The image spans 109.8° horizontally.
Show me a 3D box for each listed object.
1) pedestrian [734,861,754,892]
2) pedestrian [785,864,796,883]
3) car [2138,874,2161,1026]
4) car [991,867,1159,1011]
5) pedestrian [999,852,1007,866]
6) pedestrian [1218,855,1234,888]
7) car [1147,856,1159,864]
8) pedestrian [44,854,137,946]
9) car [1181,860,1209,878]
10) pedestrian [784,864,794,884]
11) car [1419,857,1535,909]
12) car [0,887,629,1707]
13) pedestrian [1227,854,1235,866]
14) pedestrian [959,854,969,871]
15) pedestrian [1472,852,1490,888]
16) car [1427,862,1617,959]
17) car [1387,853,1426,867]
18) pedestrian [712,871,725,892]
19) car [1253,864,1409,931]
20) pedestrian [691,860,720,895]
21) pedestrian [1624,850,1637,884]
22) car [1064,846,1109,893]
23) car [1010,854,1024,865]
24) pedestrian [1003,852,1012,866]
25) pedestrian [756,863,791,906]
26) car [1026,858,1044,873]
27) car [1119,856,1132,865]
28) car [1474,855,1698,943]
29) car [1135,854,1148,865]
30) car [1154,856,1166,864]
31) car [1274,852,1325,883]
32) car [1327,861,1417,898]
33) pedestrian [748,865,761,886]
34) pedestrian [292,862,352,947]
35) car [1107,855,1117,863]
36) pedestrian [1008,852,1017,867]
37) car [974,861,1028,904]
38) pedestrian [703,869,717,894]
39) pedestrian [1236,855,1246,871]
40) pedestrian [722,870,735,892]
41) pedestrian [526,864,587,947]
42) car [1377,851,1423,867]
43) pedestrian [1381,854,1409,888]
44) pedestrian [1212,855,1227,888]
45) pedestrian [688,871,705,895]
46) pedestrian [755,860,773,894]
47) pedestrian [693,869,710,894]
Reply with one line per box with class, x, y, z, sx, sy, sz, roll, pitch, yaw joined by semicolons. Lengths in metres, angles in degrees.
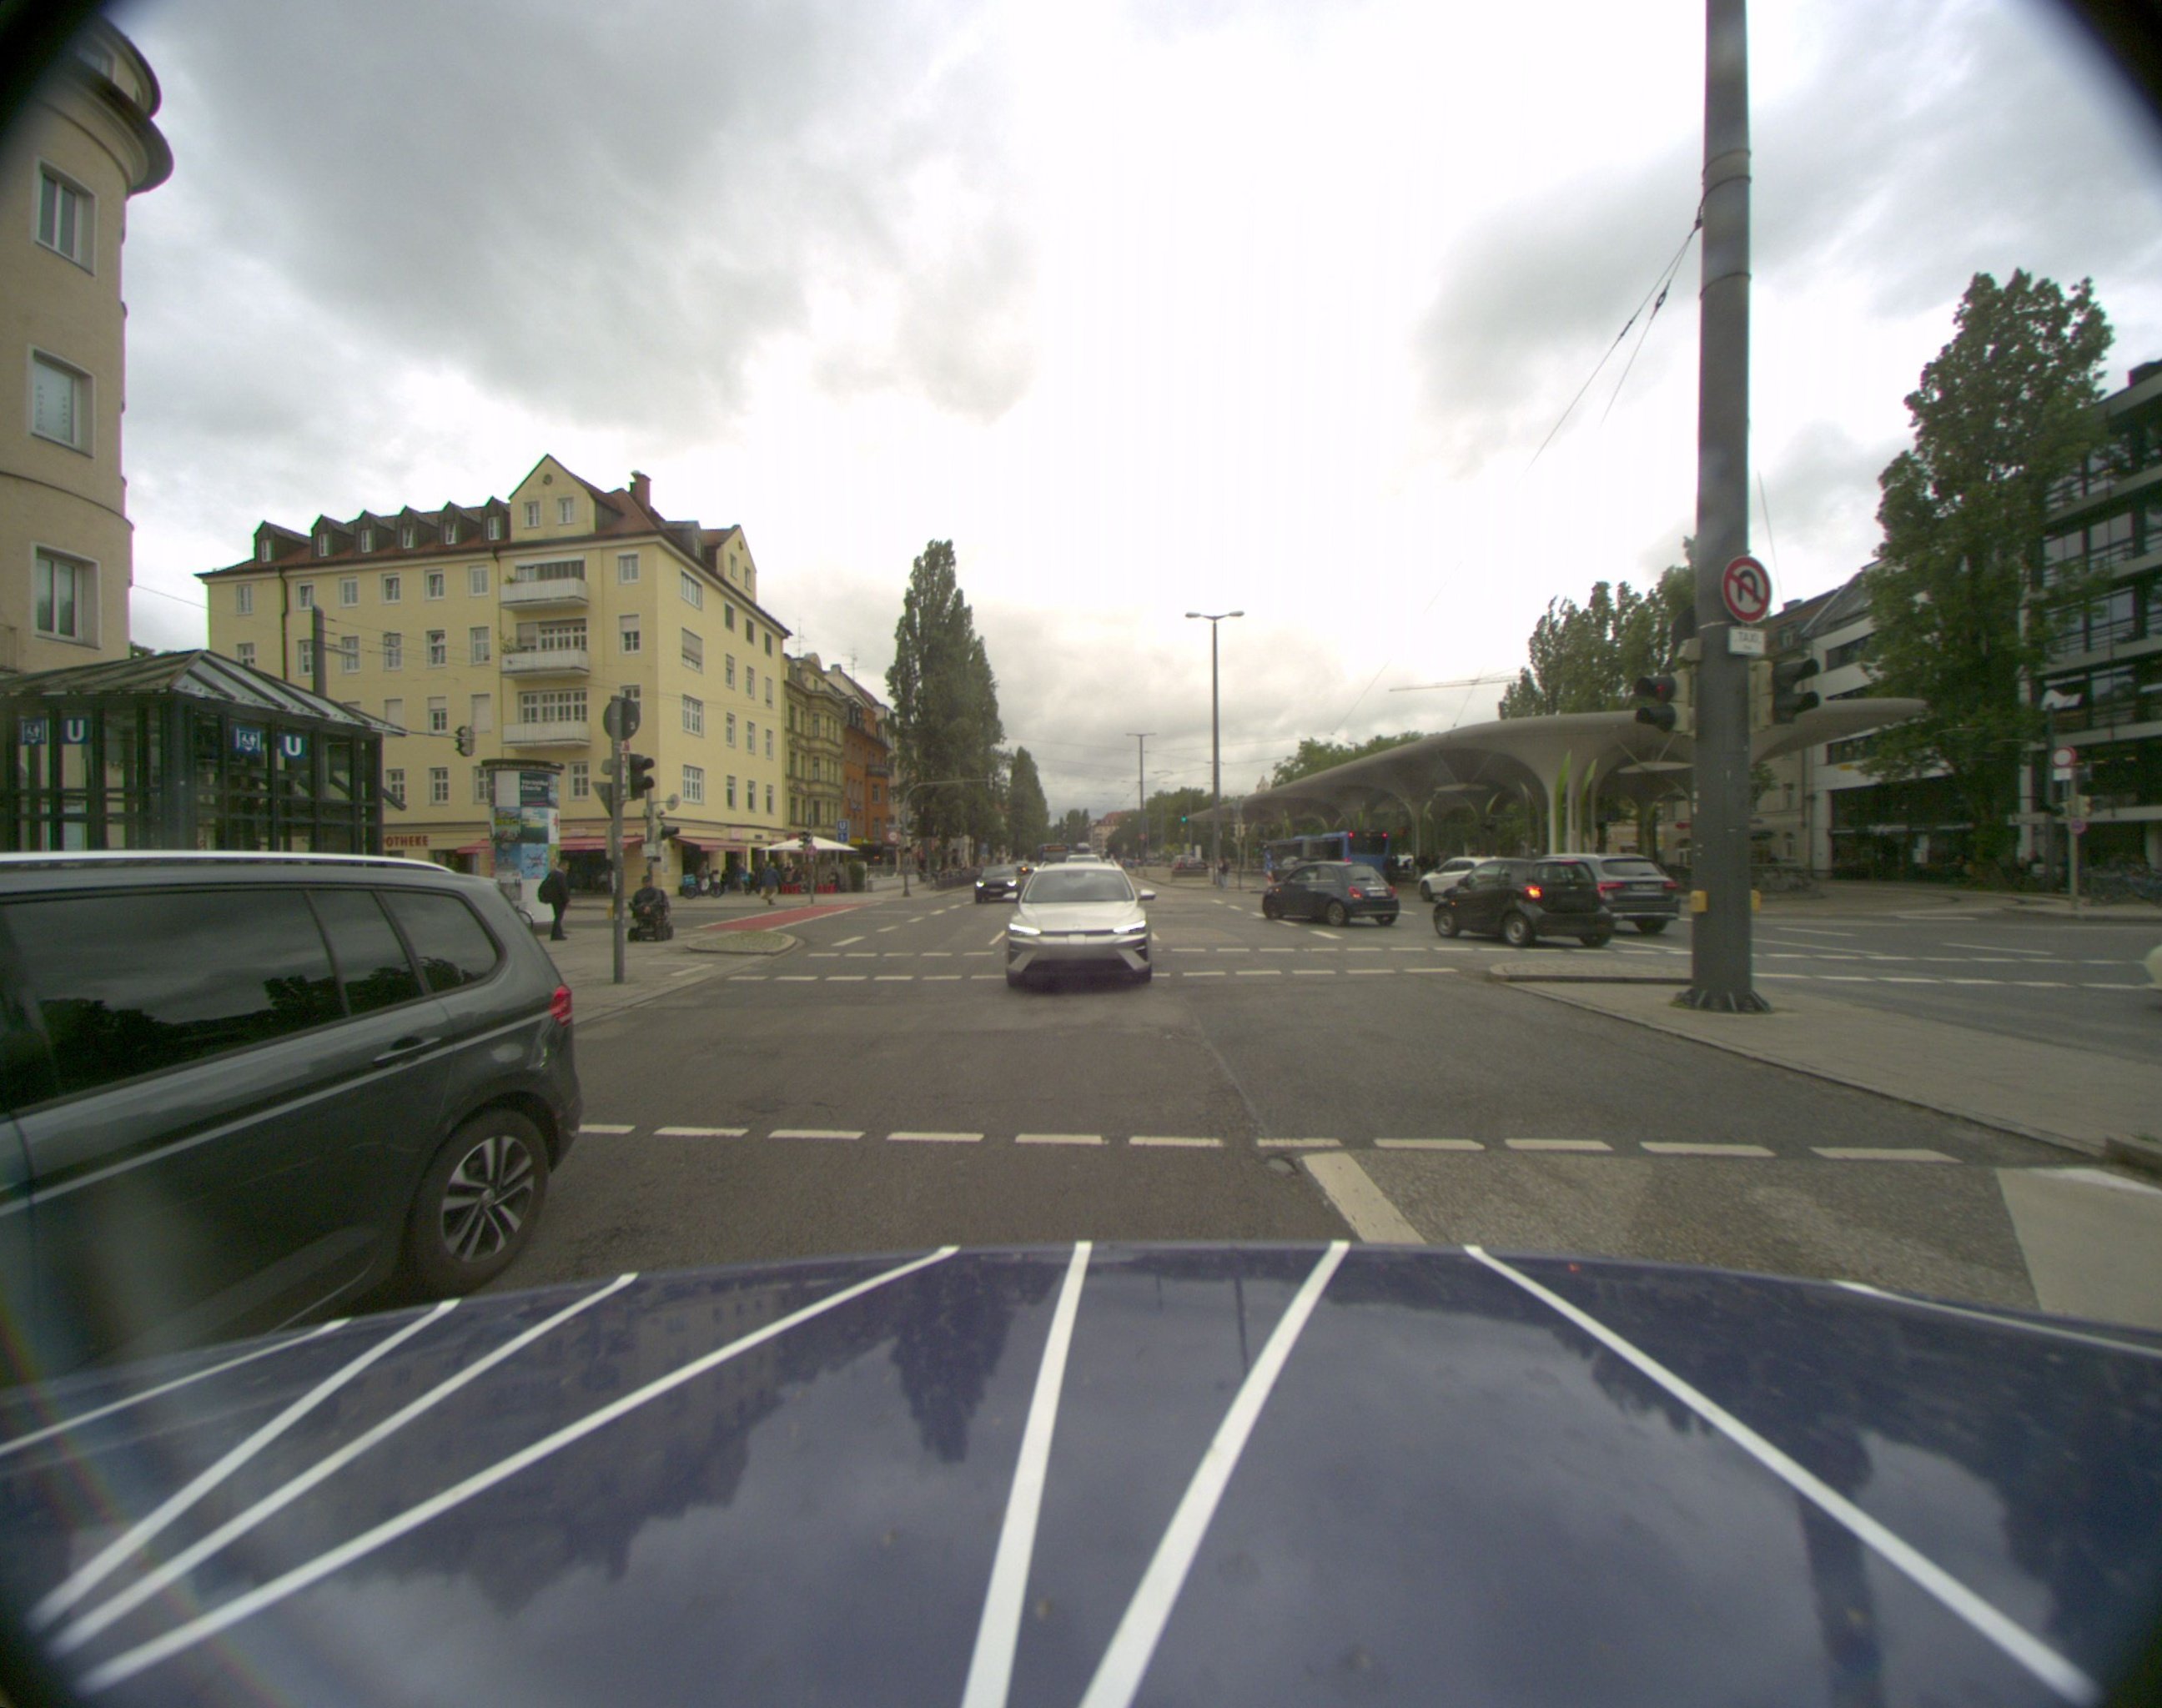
pedestrian;-18.510;1.229;41.696;0.712;1.623;0.786;-1;0;0
pedestrian;-19.252;1.297;50.426;0.496;1.282;0.552;-1;0;0
car;10.904;0.883;4.893;1.769;1.413;4.639;0;0;1
car;-0.018;0.980;10.845;1.812;1.496;4.953;-1;0;1
pedestrian;-9.717;0.601;94.448;0.699;1.770;0.652;-2;0;34
pedestrian;6.970;0.836;36.617;0.488;1.609;0.556;-1;1;-34
car;14.574;1.165;153.611;1.999;1.561;4.101;-1;0;0
pedestrian;-18.791;0.869;14.432;0.746;1.694;0.682;0;-3;-6
car;9.670;1.232;64.594;1.668;1.499;4.281;0;-1;-1
pedestrian;-19.784;1.329;51.472;0.496;1.324;0.552;-1;1;0
car;13.090;0.910;25.405;1.703;1.586;4.000;1;0;-1
car;-3.146;0.980;1.388;1.776;1.637;4.708;-1;0;1
pedestrian;19.756;0.787;100.246;0.739;1.619;0.741;-1;0;-21
pedestrian;-11.012;0.777;71.717;0.761;1.553;0.763;-1;0;2
pedestrian;18.926;0.751;35.956;0.548;1.710;0.615;-1;1;8
car;7.747;0.917;13.621;1.508;1.525;2.835;-1;0;-8
car;38.924;0.745;90.871;3.994;1.606;1.832;-1;0;8
pedestrian;-19.856;1.497;41.619;0.479;1.159;0.527;-1;0;-2
car;5.880;0.968;18.288;1.552;1.437;3.532;1;-1;-25
pedestrian;-18.788;1.163;37.979;0.836;1.673;1.041;0;1;42
pedestrian;30.725;0.715;42.481;0.484;1.921;0.422;-1;0;-28
car;0.227;0.716;36.222;1.999;2.100;4.000;-1;0;-1
car;-9.274;0.820;110.163;1.737;1.651;4.502;0;0;-1
pedestrian;-9.165;0.622;94.990;0.758;1.628;0.699;-1;-1;-43
pedestrian;-12.722;1.234;31.447;0.935;1.745;1.065;-1;0;5
car;-5.371;1.341;89.323;1.780;1.515;3.969;-1;1;0
car;9.774;1.323;166.504;2.181;1.876;6.155;-1;0;-2
car;10.855;0.864;16.841;1.748;1.660;4.731;-1;0;-1
car;10.784;0.941;135.408;1.911;1.829;3.869;-1;0;1
car;14.963;1.060;143.489;1.864;1.517;4.232;0;0;0
car;12.454;0.742;43.553;1.787;1.652;4.000;-1;0;0
car;11.844;0.987;31.254;1.999;1.403;4.167;-1;0;-2
pedestrian;-20.055;1.333;46.659;0.542;1.282;0.552;-1;0;0
pedestrian;-16.041;1.061;16.064;0.649;1.740;0.638;-1;-3;23
car;6.773;1.071;165.503;1.791;1.844;4.217;0;0;-2
pedestrian;-8.663;0.686;96.332;0.881;1.791;0.757;-2;0;11
car;-3.230;1.124;31.395;1.780;1.495;3.969;-2;1;0
pedestrian;-19.789;1.453;40.563;0.479;1.291;0.527;-1;0;-2
pedestrian;18.009;0.989;85.512;0.667;1.828;0.809;-1;1;-30
pedestrian;-19.325;1.470;41.689;0.479;1.159;0.527;-1;0;-2
pedestrian;-11.066;1.056;16.032;0.834;1.681;0.821;0;0;38
car;39.494;0.657;94.072;4.923;1.936;1.872;-1;0;10
pedestrian;15.610;0.849;37.784;0.975;1.671;0.839;-1;0;-31
pedestrian;6.727;0.849;36.948;0.520;1.609;0.465;0;1;44
pedestrian;-19.593;1.454;38.699;0.515;1.175;0.703;-1;0;-1
pedestrian;-15.869;1.154;37.990;0.762;1.685;0.766;-1;1;-25
pedestrian;-19.748;1.422;39.551;0.515;1.284;0.703;-1;0;-1
